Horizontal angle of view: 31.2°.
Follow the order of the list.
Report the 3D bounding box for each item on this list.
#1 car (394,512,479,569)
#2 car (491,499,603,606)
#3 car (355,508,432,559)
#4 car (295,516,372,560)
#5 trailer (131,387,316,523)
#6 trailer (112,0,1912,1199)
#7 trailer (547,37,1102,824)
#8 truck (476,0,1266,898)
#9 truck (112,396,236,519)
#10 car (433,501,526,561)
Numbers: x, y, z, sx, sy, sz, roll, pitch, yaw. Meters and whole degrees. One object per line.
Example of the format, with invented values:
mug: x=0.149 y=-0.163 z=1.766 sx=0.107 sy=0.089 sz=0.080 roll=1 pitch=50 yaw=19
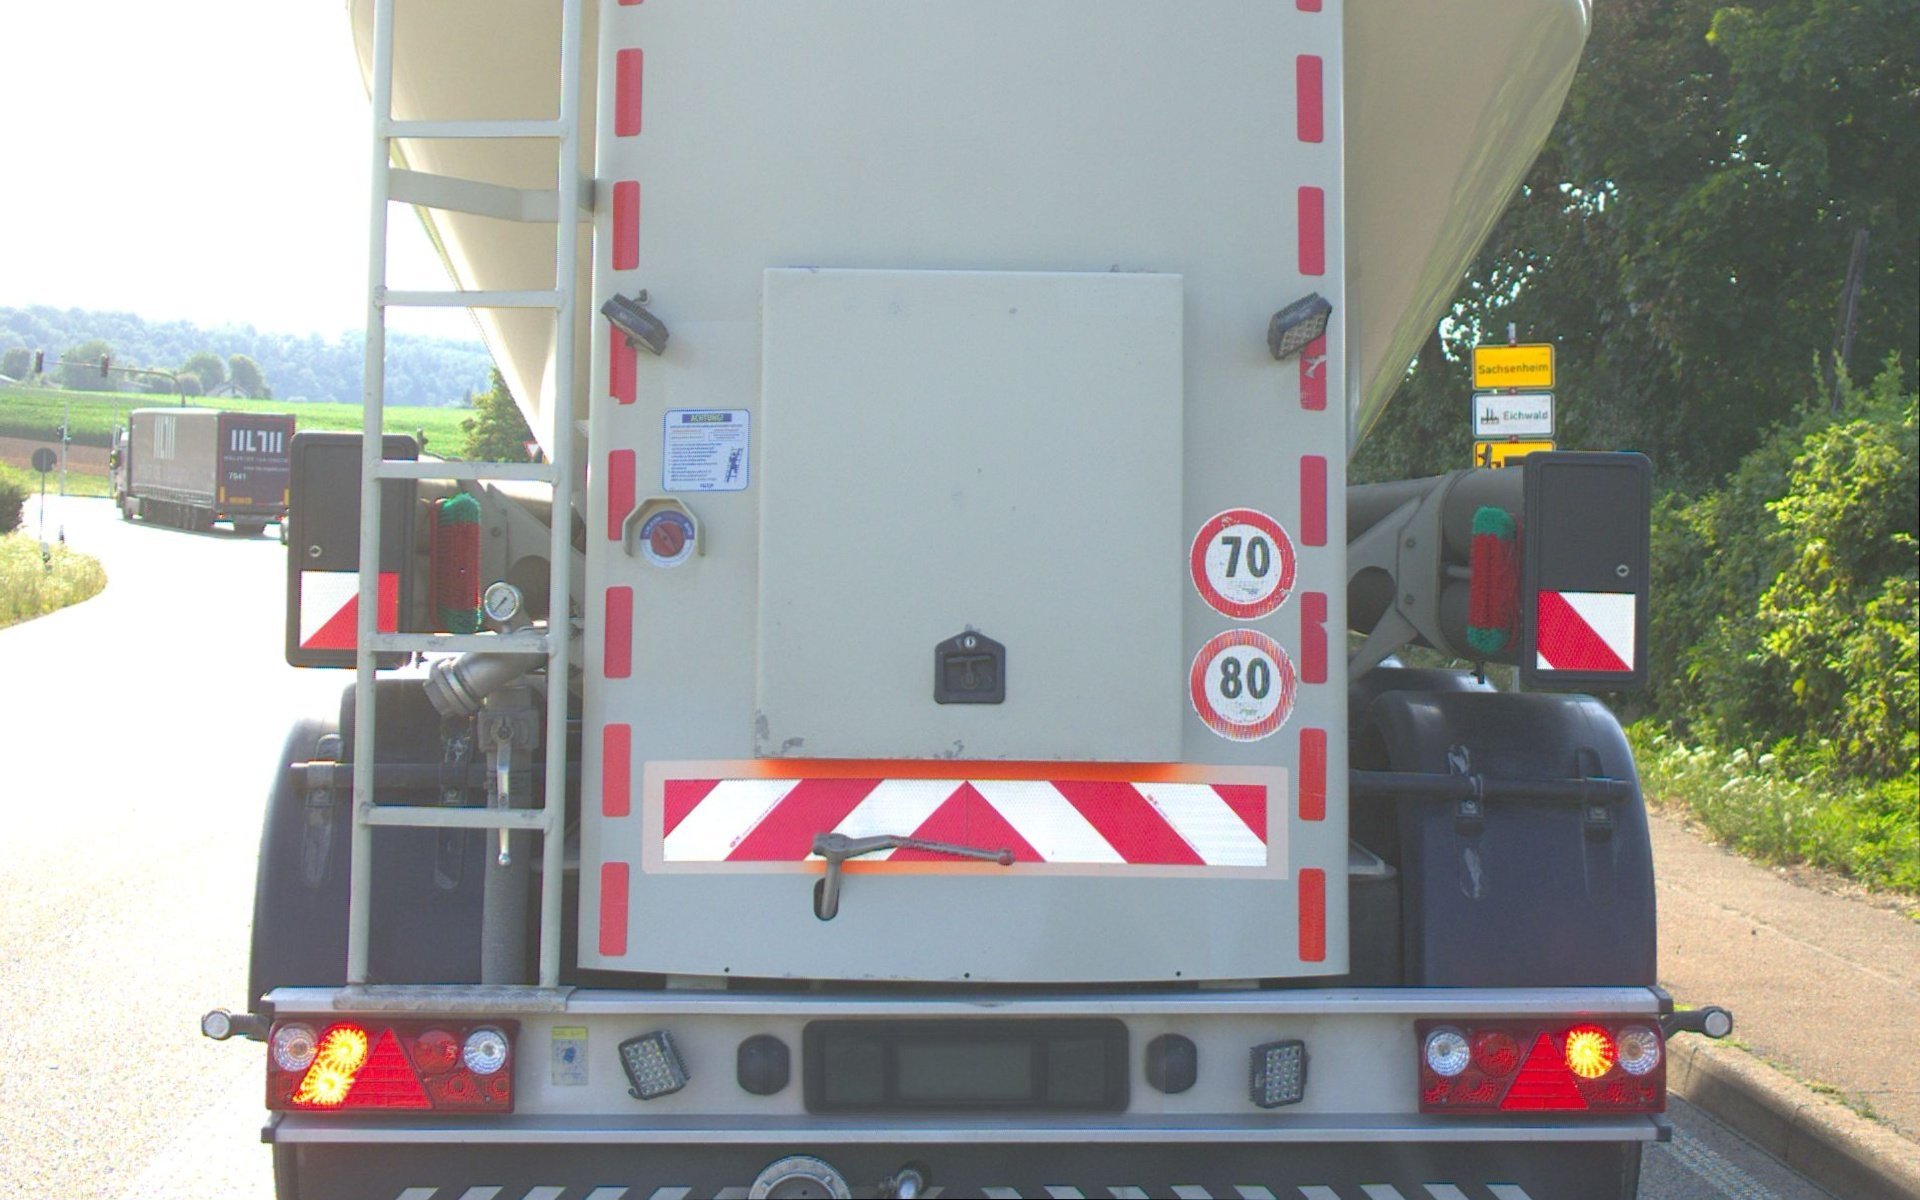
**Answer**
car: x=-13.370 y=-1.526 z=87.679 sx=1.580 sy=1.336 sz=3.427 roll=2 pitch=1 yaw=-18
car: x=-8.103 y=-0.950 z=67.223 sx=1.861 sy=2.007 sz=3.720 roll=1 pitch=1 yaw=-11
car: x=-15.807 y=-1.870 z=95.863 sx=1.580 sy=1.336 sz=3.427 roll=2 pitch=1 yaw=-18
car: x=-18.612 y=-1.838 z=102.035 sx=1.769 sy=1.201 sz=3.427 roll=2 pitch=1 yaw=-18
trailer: x=-25.767 y=-4.975 z=119.524 sx=3.375 sy=4.335 sz=14.297 roll=2 pitch=1 yaw=-24
trailer: x=-0.182 y=-0.845 z=10.538 sx=2.909 sy=3.992 sz=9.931 roll=1 pitch=1 yaw=-3
trailer: x=-0.814 y=-1.087 z=26.334 sx=2.955 sy=4.300 sz=14.176 roll=2 pitch=1 yaw=0
truck: x=-0.459 y=-0.927 z=14.853 sx=2.909 sy=3.992 sz=4.060 roll=1 pitch=1 yaw=-4
truck: x=-29.120 y=-5.240 z=127.221 sx=3.375 sy=4.335 sz=5.707 roll=2 pitch=1 yaw=-24
car: x=-11.419 y=-1.641 z=81.496 sx=1.580 sy=1.336 sz=3.427 roll=2 pitch=1 yaw=-18
